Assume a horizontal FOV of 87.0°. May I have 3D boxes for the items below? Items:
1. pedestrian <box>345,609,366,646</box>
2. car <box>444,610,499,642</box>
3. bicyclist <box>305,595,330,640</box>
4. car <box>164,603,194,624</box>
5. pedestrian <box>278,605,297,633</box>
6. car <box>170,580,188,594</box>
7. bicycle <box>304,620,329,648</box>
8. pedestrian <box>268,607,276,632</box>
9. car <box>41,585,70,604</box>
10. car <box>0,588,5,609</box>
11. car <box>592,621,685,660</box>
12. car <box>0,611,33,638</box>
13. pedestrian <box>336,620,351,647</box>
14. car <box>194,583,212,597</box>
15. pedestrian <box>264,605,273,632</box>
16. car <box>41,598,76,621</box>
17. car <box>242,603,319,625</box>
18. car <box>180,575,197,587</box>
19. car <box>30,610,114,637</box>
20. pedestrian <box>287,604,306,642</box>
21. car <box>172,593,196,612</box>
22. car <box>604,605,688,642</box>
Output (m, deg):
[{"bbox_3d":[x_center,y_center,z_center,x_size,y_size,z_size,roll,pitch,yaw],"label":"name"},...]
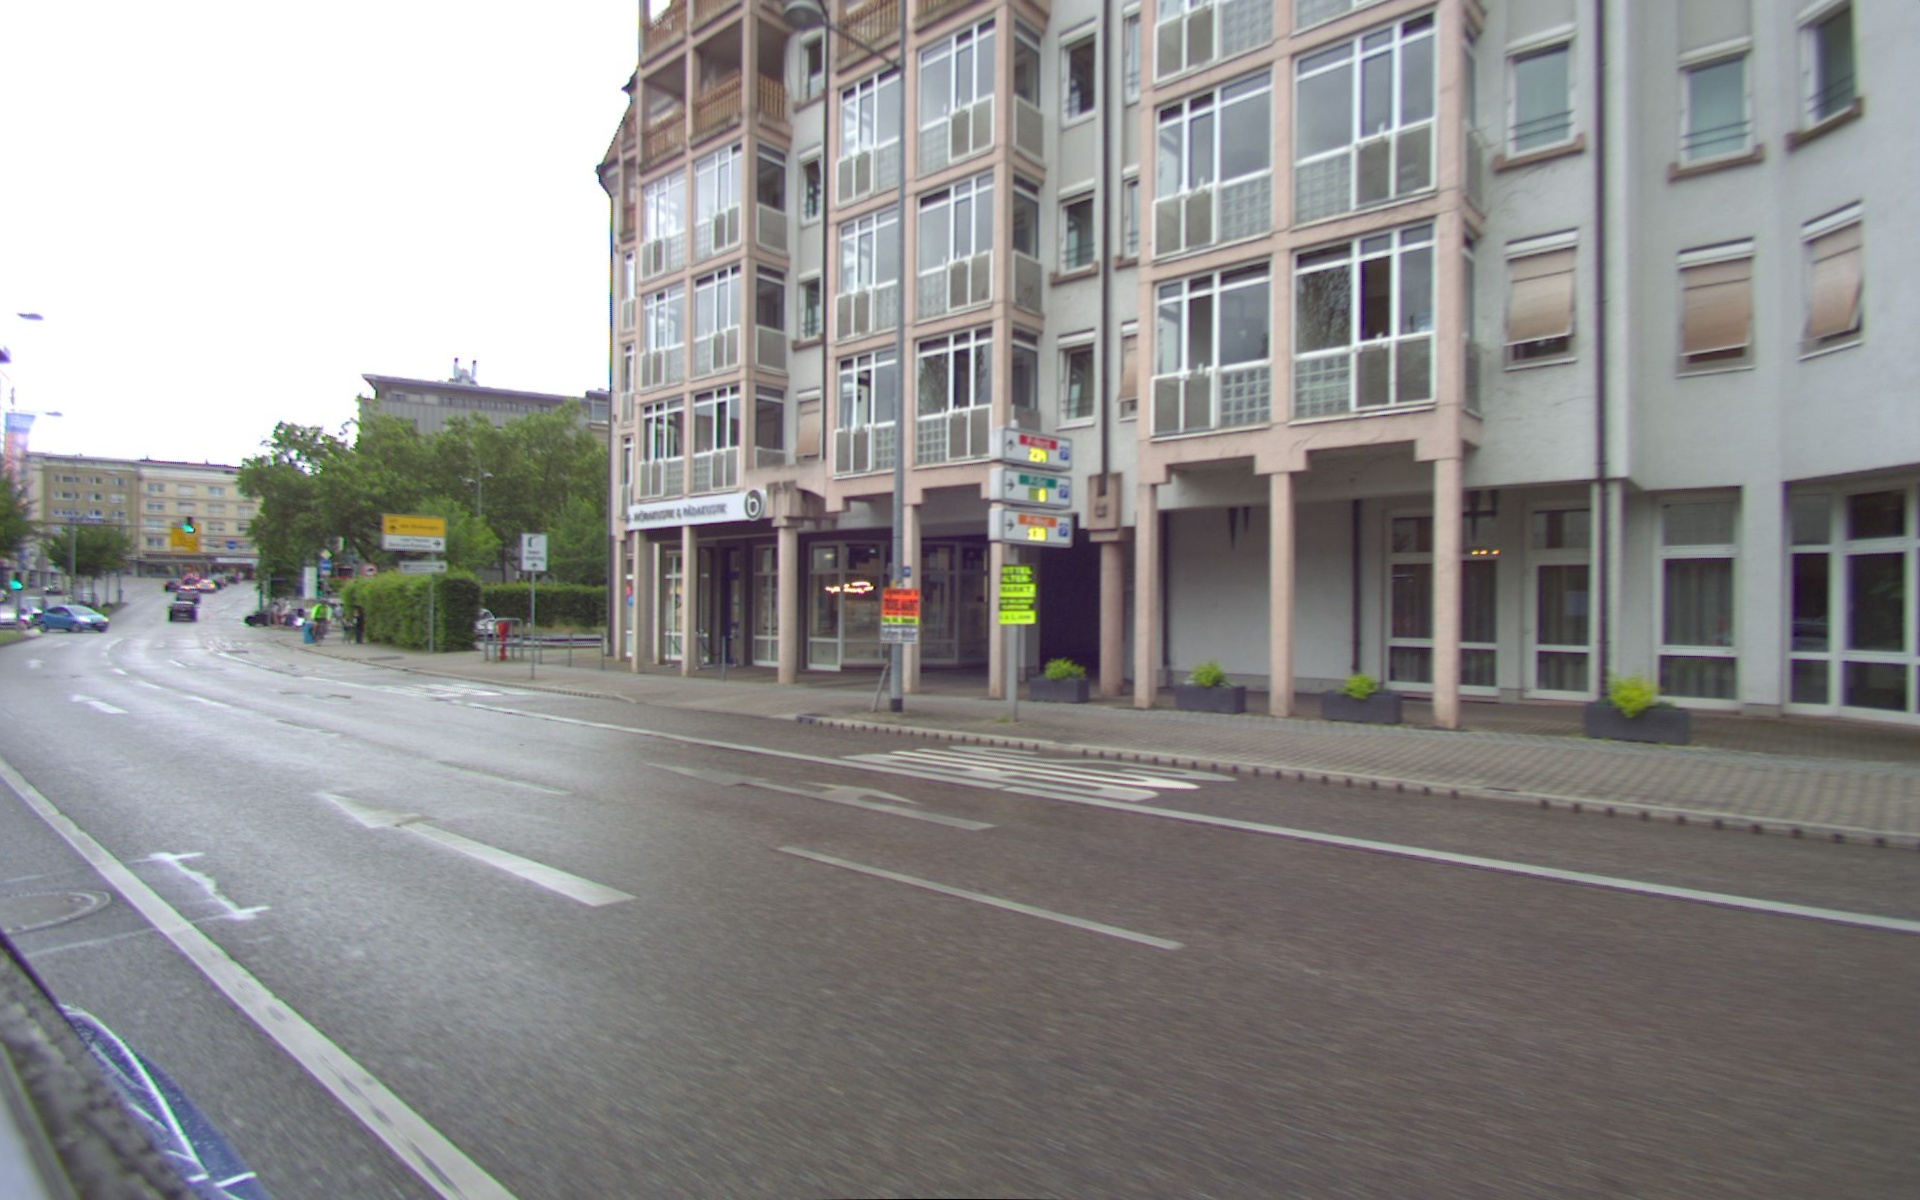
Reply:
[{"bbox_3d":[-26.550,1.204,44.454,0.565,1.571,0.706,-1,-1,45],"label":"pedestrian"},{"bbox_3d":[-24.531,1.292,50.738,1.575,1.550,3.605,0,-1,-41],"label":"car"},{"bbox_3d":[-27.303,0.733,43.006,0.781,1.904,0.955,0,0,-39],"label":"bicyclist"},{"bbox_3d":[-60.382,1.050,78.303,1.734,1.431,4.106,3,-1,-37],"label":"car"},{"bbox_3d":[-46.894,1.305,70.582,0.824,1.921,0.852,0,1,30],"label":"pedestrian"},{"bbox_3d":[-92.800,-1.517,120.272,1.601,1.567,3.667,1,0,-38],"label":"car"},{"bbox_3d":[-27.402,1.429,43.086,0.642,1.118,2.062,0,0,-39],"label":"bicycle"},{"bbox_3d":[-49.109,1.378,72.230,0.406,1.777,0.678,0,-1,-38],"label":"pedestrian"},{"bbox_3d":[-96.888,-0.622,108.474,1.803,1.749,4.011,2,2,-35],"label":"car"},{"bbox_3d":[-84.509,-0.114,87.777,1.803,1.749,4.011,2,2,-35],"label":"car"},{"bbox_3d":[-14.976,1.836,47.118,3.992,1.587,1.961,-1,1,-21],"label":"car"},{"bbox_3d":[-57.466,1.472,61.218,1.742,1.420,4.008,-1,2,-38],"label":"car"},{"bbox_3d":[-27.027,1.481,44.342,0.463,1.159,0.502,1,-1,-45],"label":"pedestrian"},{"bbox_3d":[-90.763,-1.206,121.367,1.650,1.527,3.652,2,0,-36],"label":"car"},{"bbox_3d":[-48.570,1.288,71.043,0.441,1.850,0.678,0,3,-41],"label":"pedestrian"},{"bbox_3d":[-78.848,0.819,88.553,1.803,1.749,4.011,2,2,-35],"label":"car"},{"bbox_3d":[-50.379,1.028,75.110,4.361,1.406,1.935,2,0,-3],"label":"car"},{"bbox_3d":[-102.558,-2.547,134.624,1.691,1.490,3.967,3,0,-37],"label":"car"},{"bbox_3d":[-49.580,1.314,56.496,3.651,1.485,1.695,-1,-1,12],"label":"car"},{"bbox_3d":[-31.270,1.085,47.726,0.528,1.778,0.622,0,0,41],"label":"pedestrian"},{"bbox_3d":[-77.632,0.253,101.261,1.803,1.749,4.320,1,0,-37],"label":"car"},{"bbox_3d":[-14.925,1.094,48.100,3.538,1.587,1.605,-1,1,-30],"label":"car"}]
